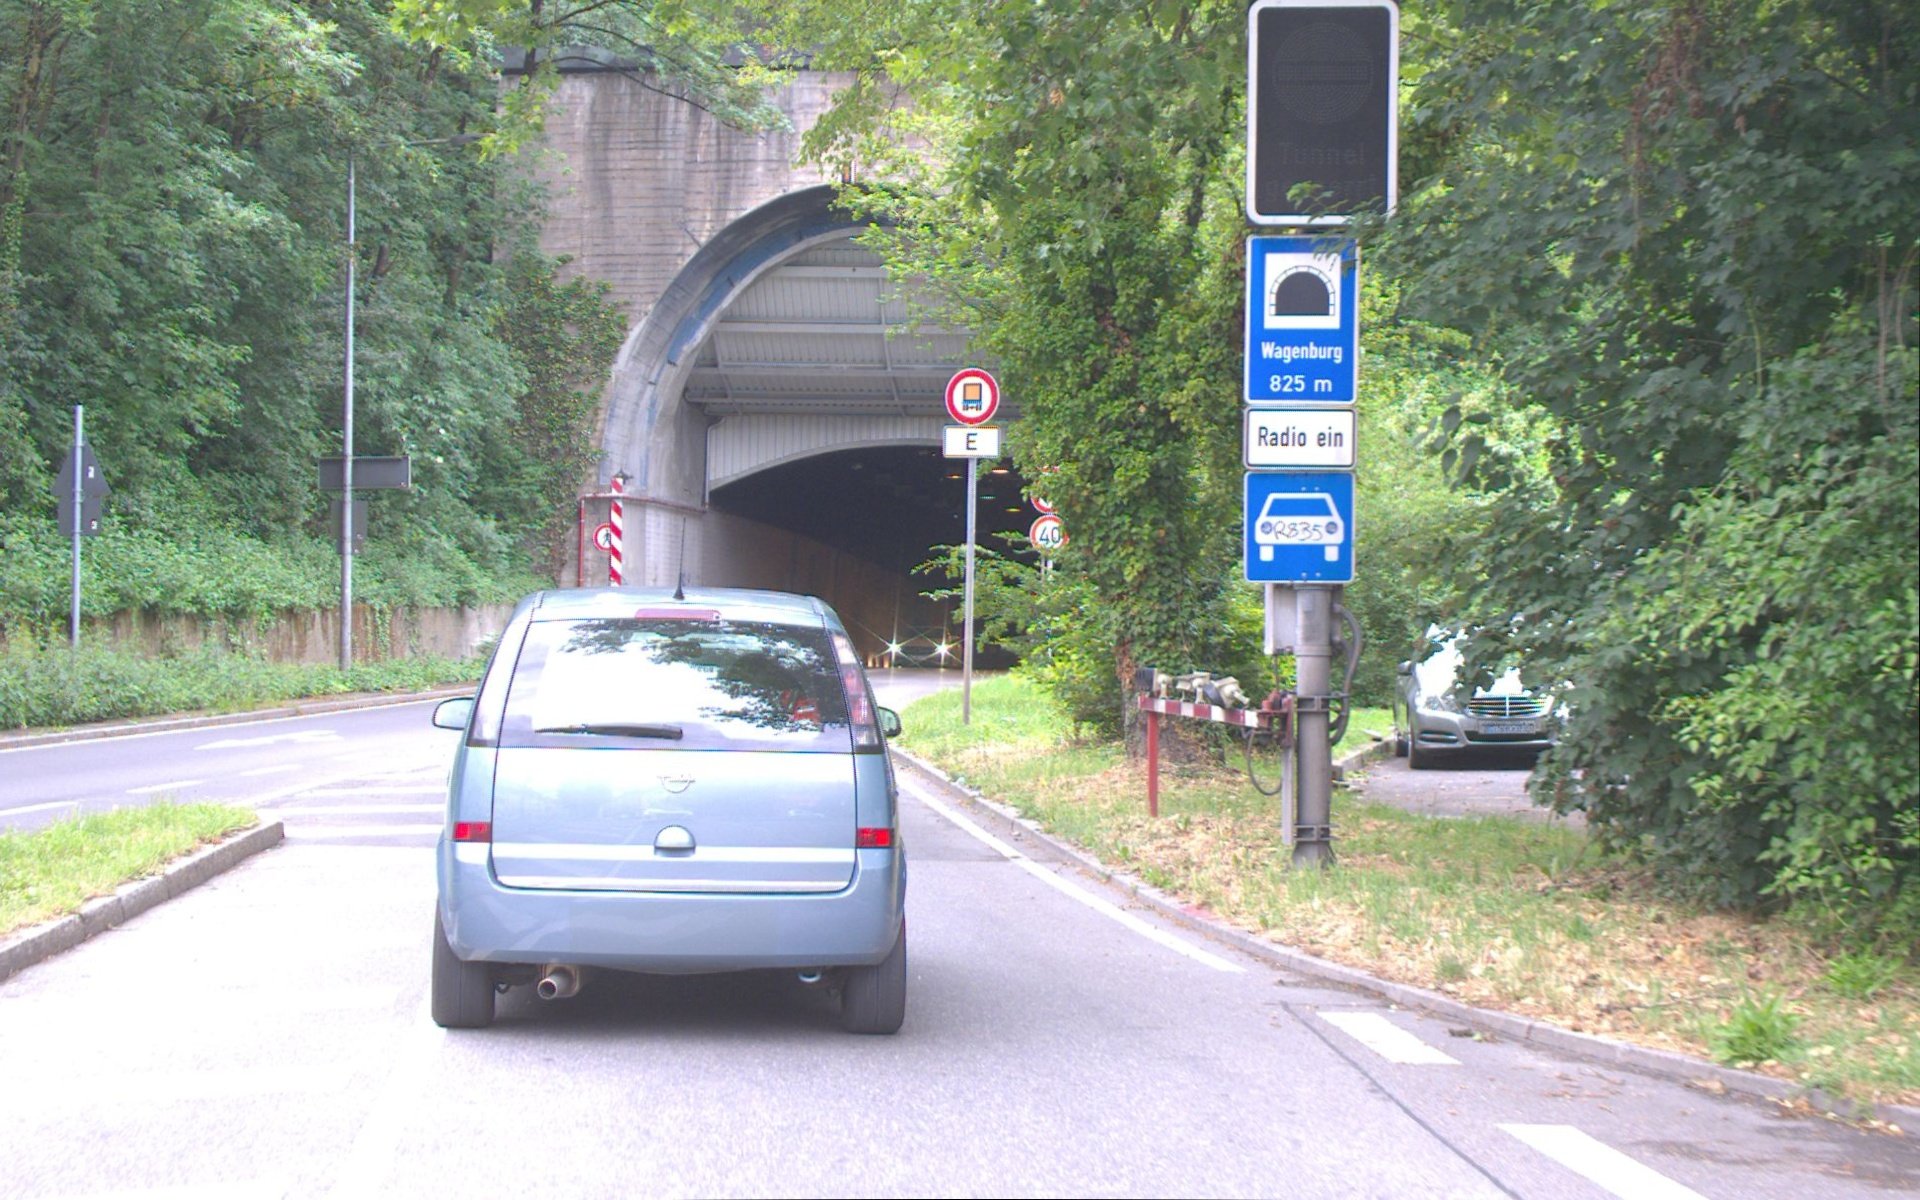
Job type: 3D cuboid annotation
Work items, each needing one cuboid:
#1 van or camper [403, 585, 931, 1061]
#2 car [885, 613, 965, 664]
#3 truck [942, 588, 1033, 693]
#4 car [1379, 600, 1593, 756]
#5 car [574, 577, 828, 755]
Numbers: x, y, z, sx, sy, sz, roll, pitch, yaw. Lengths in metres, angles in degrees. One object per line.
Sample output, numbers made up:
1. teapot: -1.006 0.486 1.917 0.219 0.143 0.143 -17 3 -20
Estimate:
1. van or camper: -1.149 0.746 13.386 1.735 1.572 3.646 1 0 -5
2. car: -1.028 1.141 102.818 1.868 1.366 4.455 -1 1 6
3. truck: 1.050 1.447 125.697 2.676 3.654 7.516 1 0 5
4. car: 5.349 0.749 35.516 1.785 1.437 5.062 0 1 4
5. car: -2.493 0.603 34.037 1.994 1.647 4.000 0 0 3
